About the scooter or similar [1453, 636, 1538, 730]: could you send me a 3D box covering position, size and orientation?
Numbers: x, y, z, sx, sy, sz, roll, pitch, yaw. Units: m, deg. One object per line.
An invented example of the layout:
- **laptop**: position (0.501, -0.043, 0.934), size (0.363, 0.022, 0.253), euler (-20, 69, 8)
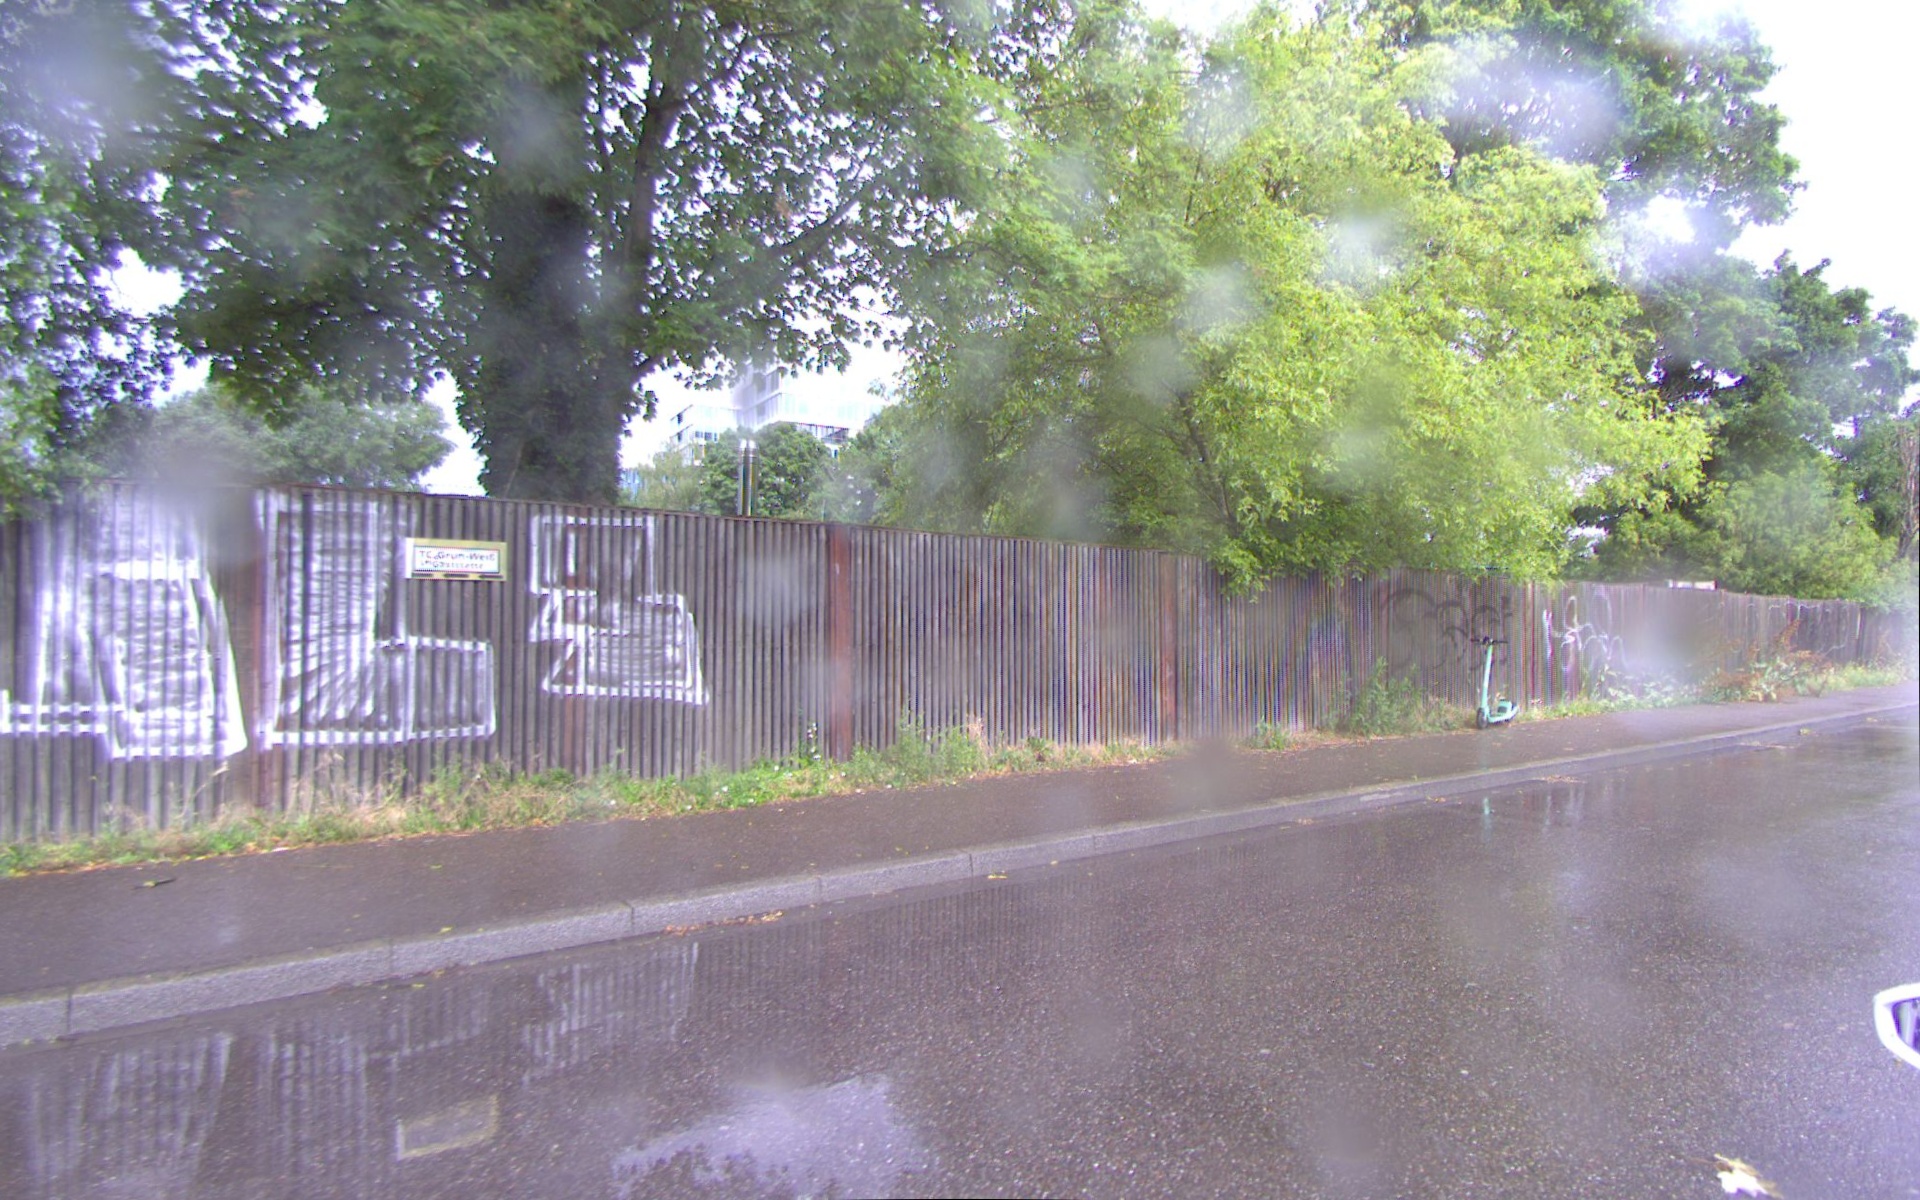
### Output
- **scooter or similar**: position (7.077, 1.067, 13.269), size (1.198, 1.178, 0.558), euler (1, -1, -38)
